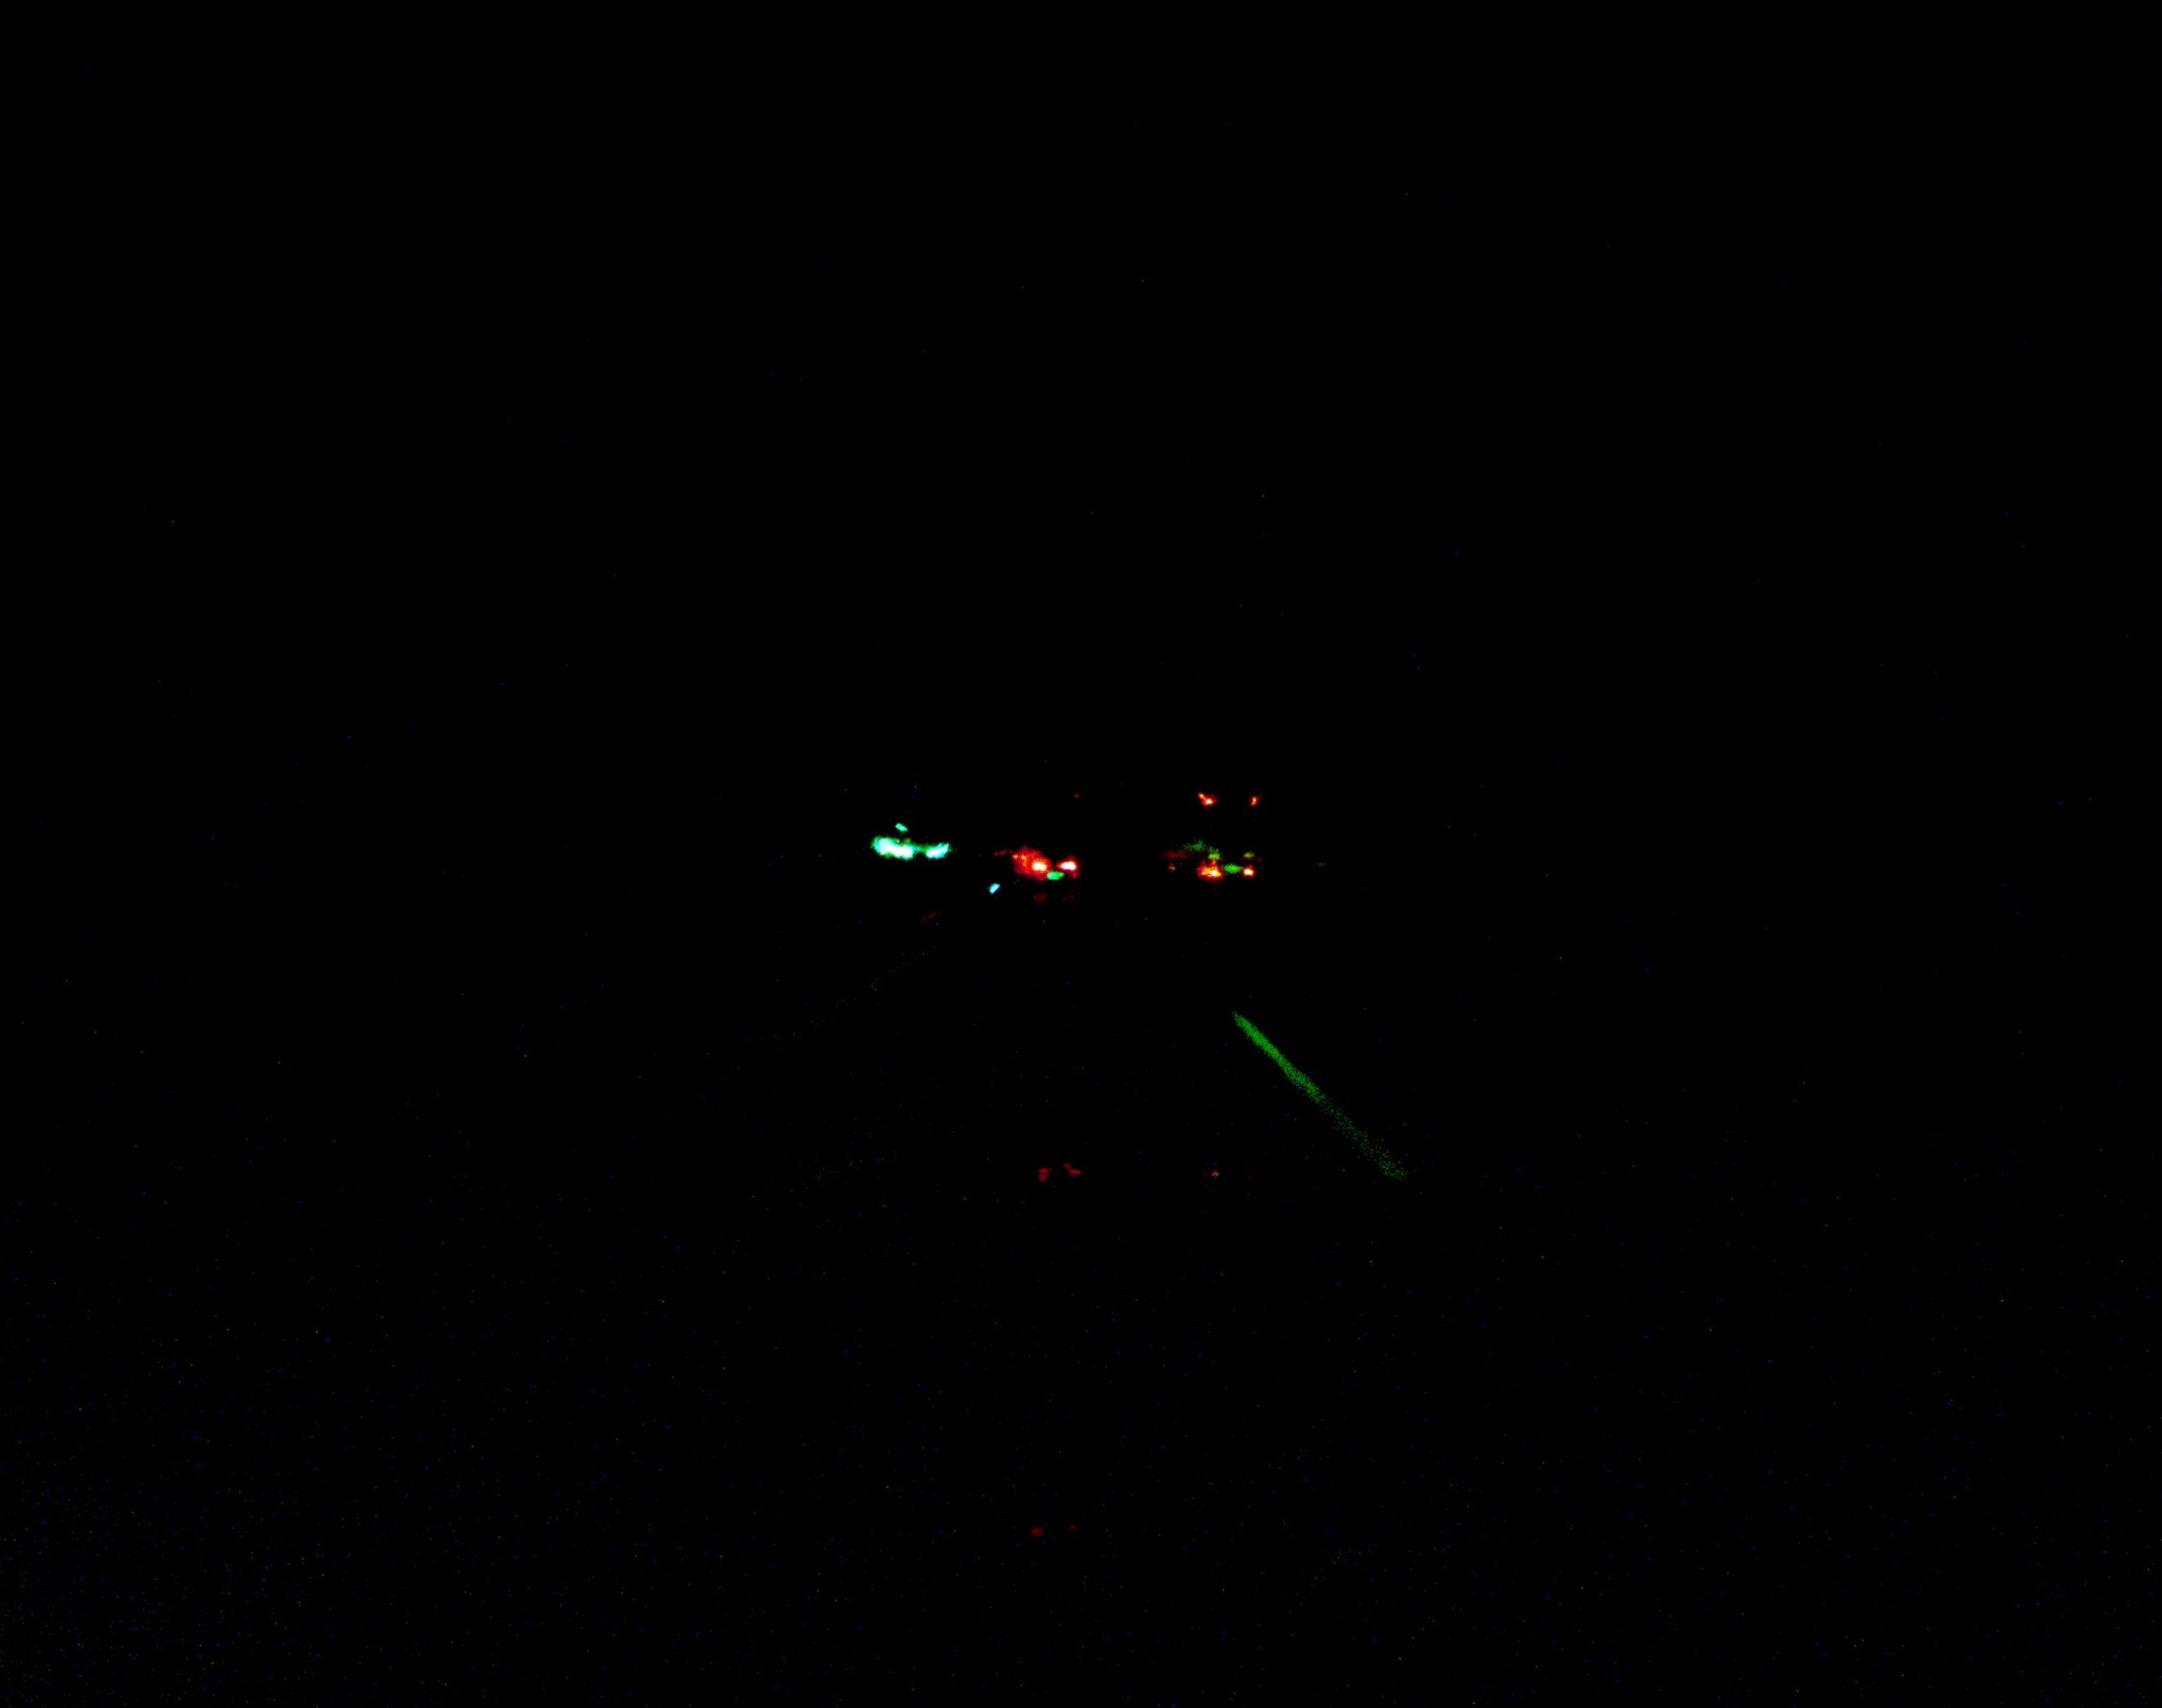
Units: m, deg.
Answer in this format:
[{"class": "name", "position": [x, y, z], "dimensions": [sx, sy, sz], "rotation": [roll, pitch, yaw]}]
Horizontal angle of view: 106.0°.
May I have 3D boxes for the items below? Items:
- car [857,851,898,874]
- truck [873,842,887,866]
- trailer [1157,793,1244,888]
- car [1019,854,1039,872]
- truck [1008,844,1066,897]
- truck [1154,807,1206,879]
[{"class": "car", "position": [-15.025, 0.580, 60.288], "dimensions": [1.988, 1.478, 3.999], "rotation": [4, 1, -1]}, {"class": "truck", "position": [-46.007, 0.040, 186.535], "dimensions": [2.756, 5.097, 5.856], "rotation": [4, 1, -14]}, {"class": "trailer", "position": [6.099, -0.656, 44.154], "dimensions": [2.730, 4.248, 13.371], "rotation": [-2, 0, 0]}, {"class": "car", "position": [-5.956, 1.016, 92.575], "dimensions": [1.992, 2.014, 3.989], "rotation": [-1, 0, -8]}, {"class": "truck", "position": [-1.903, 0.689, 37.354], "dimensions": [2.138, 2.077, 6.603], "rotation": [4, 0, 0]}, {"class": "truck", "position": [6.103, -0.655, 50.698], "dimensions": [2.701, 4.241, 5.294], "rotation": [0, 0, 1]}]
